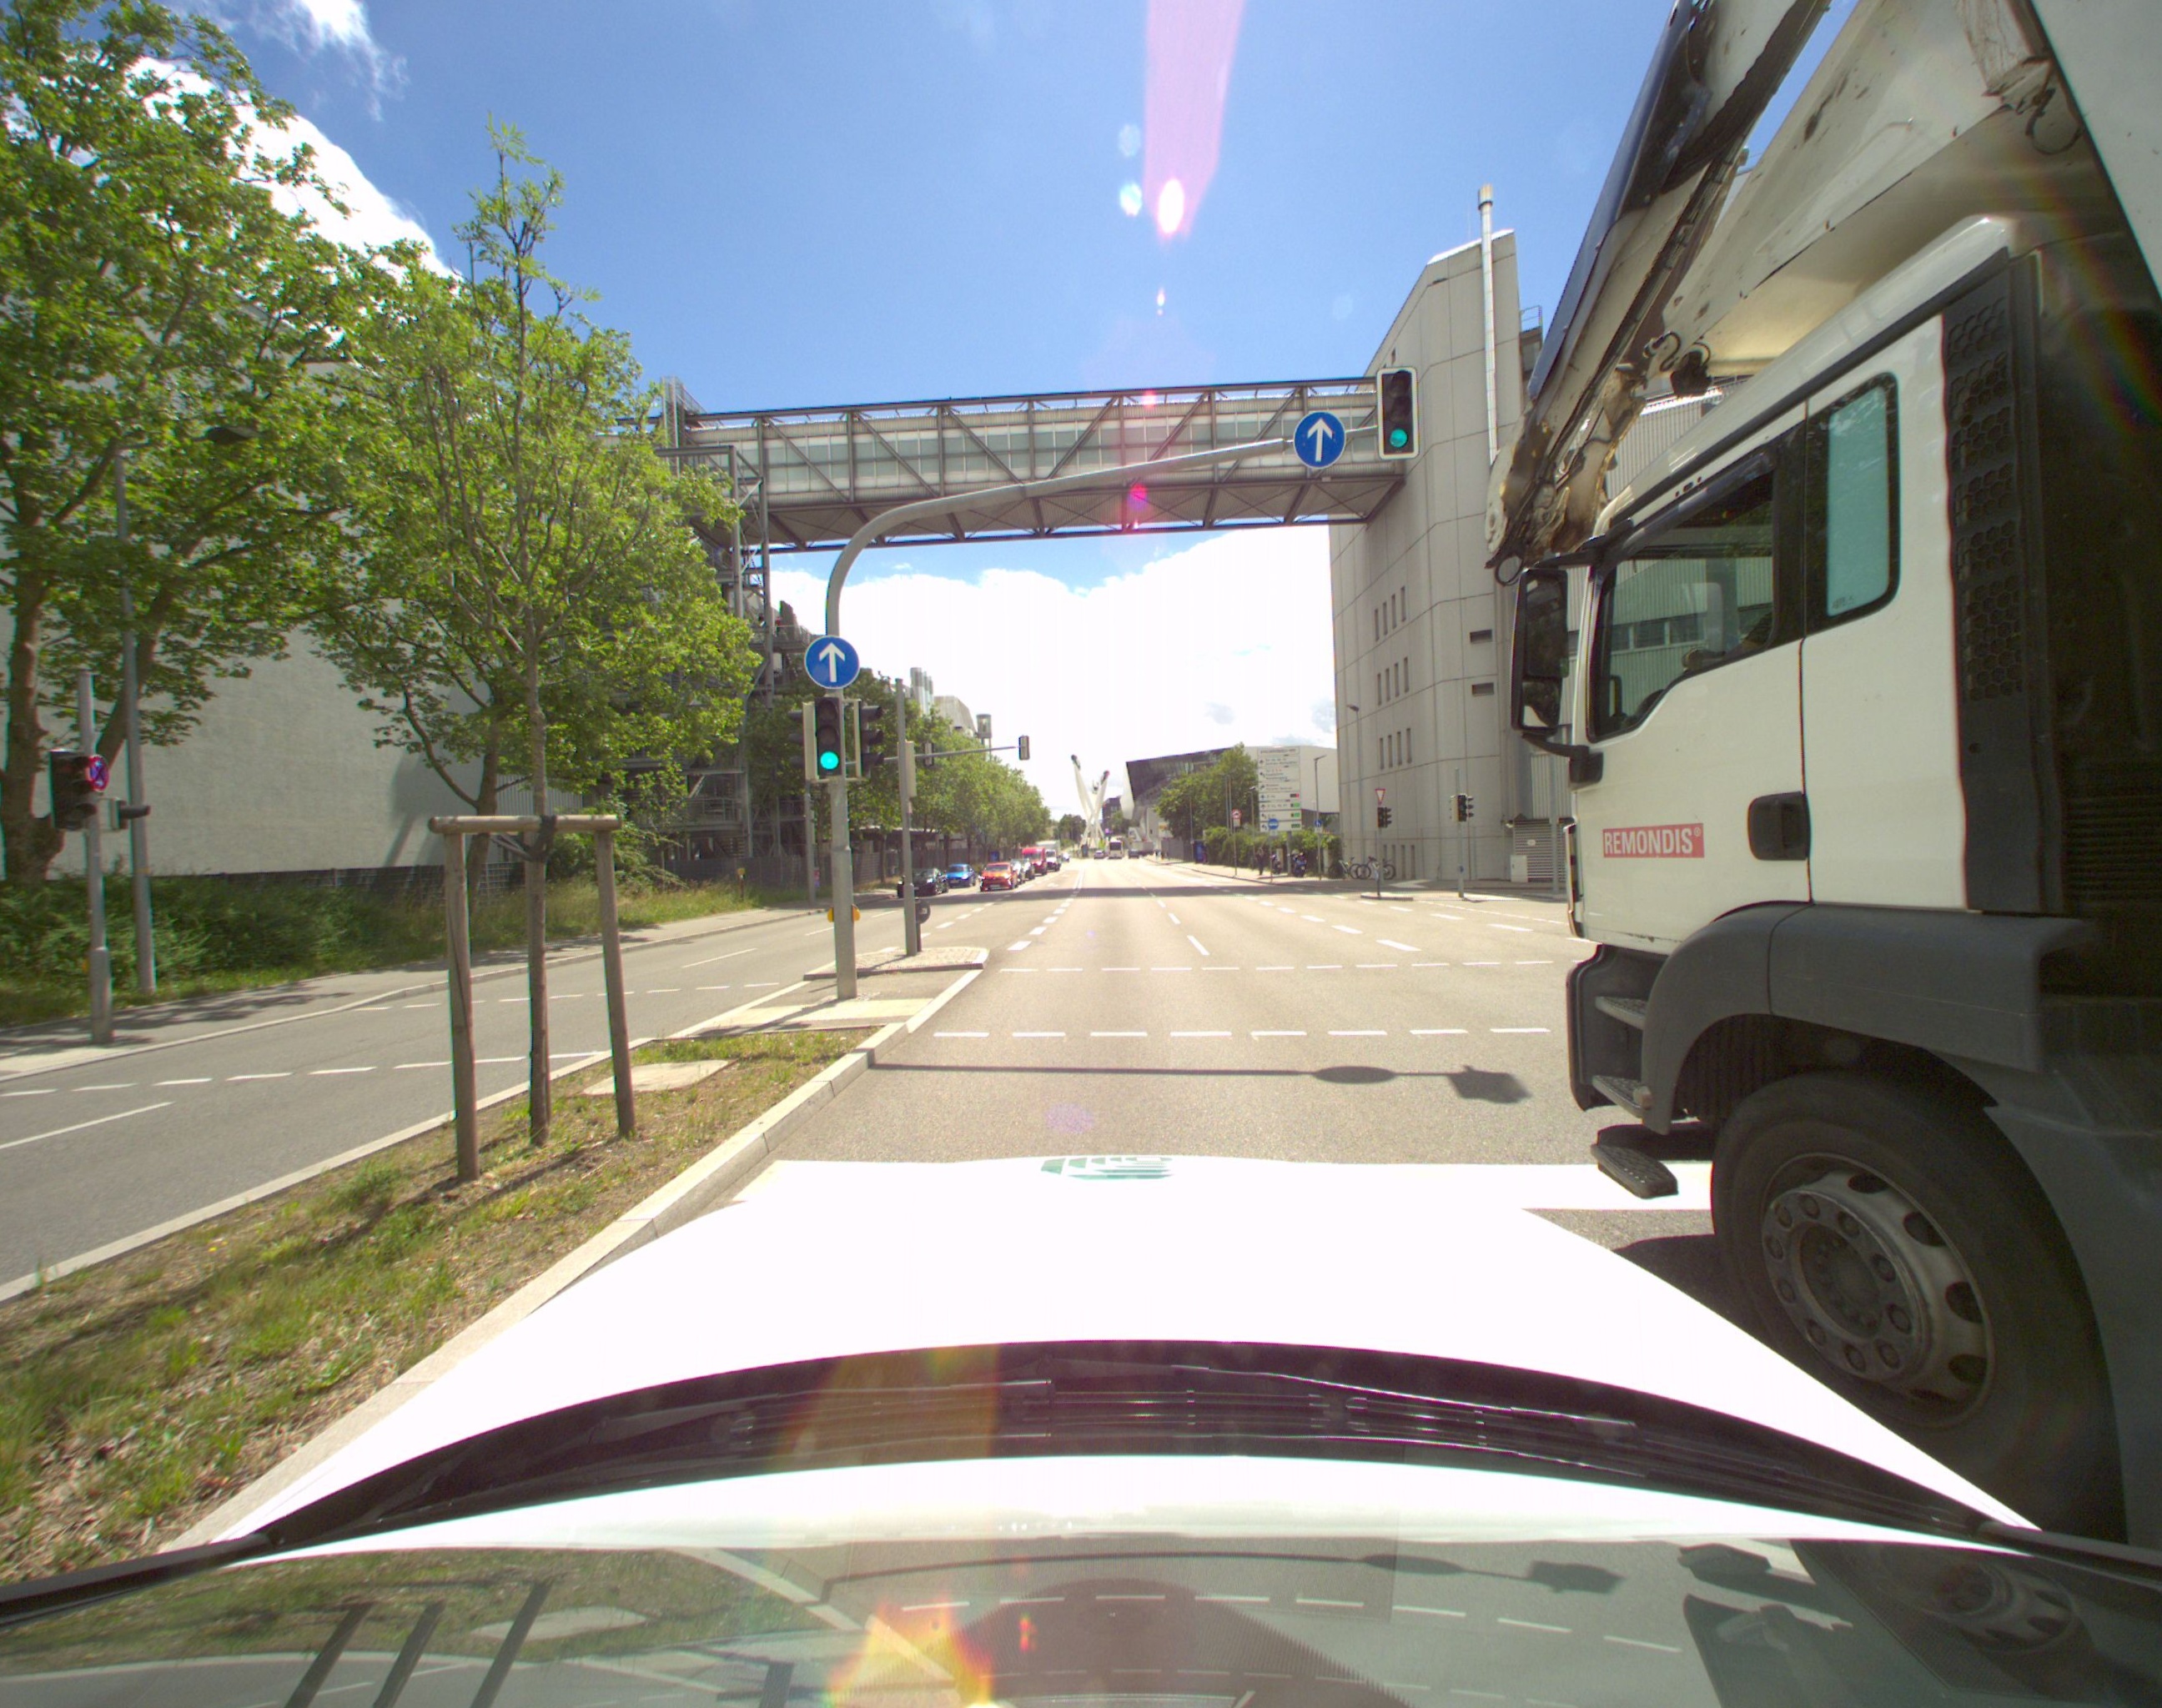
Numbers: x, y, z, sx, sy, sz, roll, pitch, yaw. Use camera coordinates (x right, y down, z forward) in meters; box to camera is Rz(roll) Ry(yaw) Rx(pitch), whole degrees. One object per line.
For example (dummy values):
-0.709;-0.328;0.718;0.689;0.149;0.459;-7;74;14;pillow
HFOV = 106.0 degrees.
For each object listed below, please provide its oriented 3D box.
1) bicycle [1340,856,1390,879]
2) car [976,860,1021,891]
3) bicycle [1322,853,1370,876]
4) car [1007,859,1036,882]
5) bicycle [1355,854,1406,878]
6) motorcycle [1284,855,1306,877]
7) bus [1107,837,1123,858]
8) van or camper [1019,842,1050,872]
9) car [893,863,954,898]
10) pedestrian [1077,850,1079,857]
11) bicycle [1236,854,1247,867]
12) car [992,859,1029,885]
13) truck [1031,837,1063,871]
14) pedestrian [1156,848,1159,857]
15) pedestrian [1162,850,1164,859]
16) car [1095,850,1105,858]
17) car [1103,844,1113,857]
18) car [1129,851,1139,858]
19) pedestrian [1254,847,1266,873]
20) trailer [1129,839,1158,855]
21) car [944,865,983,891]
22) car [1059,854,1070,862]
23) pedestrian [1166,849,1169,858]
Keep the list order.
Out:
13.525;0.641;38.884;2.196;1.087;0.480;-1;-1;37;bicycle
-4.357;1.124;43.525;1.762;1.420;3.703;-4;0;3;car
13.092;0.524;40.229;2.196;1.087;0.480;-1;-1;37;bicycle
-4.261;1.174;59.047;1.551;1.448;3.775;-4;0;3;car
13.924;0.543;37.900;2.166;1.087;0.480;-1;-1;37;bicycle
11.662;0.664;44.420;0.418;1.166;1.951;0;-1;-9;motorcycle
6.276;-1.207;149.632;2.776;3.686;6.947;0;-1;3;bus
-4.004;0.279;70.599;2.038;2.466;5.598;-1;0;3;van or camper
-8.068;1.323;42.214;1.910;1.488;4.775;-4;0;3;car
-0.597;-0.058;179.507;0.384;1.421;0.424;0;-1;3;pedestrian
12.749;0.543;64.655;0.417;1.022;1.911;0;-1;-2;bicycle
-4.446;1.095;51.546;1.762;1.420;3.703;-4;0;3;car
-3.383;0.036;82.803;2.581;3.324;7.083;0;-1;3;truck
12.227;-0.264;130.345;0.384;1.421;0.424;0;-1;2;pedestrian
12.707;0.082;126.375;0.384;1.421;0.424;0;-1;2;pedestrian
3.416;0.046;148.042;1.551;1.273;3.704;-4;0;3;car
5.796;-0.762;174.657;1.836;2.624;4.003;0;-1;3;car
9.492;0.080;145.937;1.551;1.273;3.704;-4;0;3;car
11.075;0.369;50.415;0.532;1.640;0.657;0;-1;-4;pedestrian
13.277;-1.440;172.272;3.291;2.995;10.429;-1;-1;21;trailer
-7.412;1.498;51.723;1.720;1.382;3.703;-4;0;3;car
-2.641;0.611;130.952;1.551;1.273;3.703;-4;0;3;car
13.918;-0.079;130.674;0.384;1.421;0.424;0;-1;2;pedestrian
